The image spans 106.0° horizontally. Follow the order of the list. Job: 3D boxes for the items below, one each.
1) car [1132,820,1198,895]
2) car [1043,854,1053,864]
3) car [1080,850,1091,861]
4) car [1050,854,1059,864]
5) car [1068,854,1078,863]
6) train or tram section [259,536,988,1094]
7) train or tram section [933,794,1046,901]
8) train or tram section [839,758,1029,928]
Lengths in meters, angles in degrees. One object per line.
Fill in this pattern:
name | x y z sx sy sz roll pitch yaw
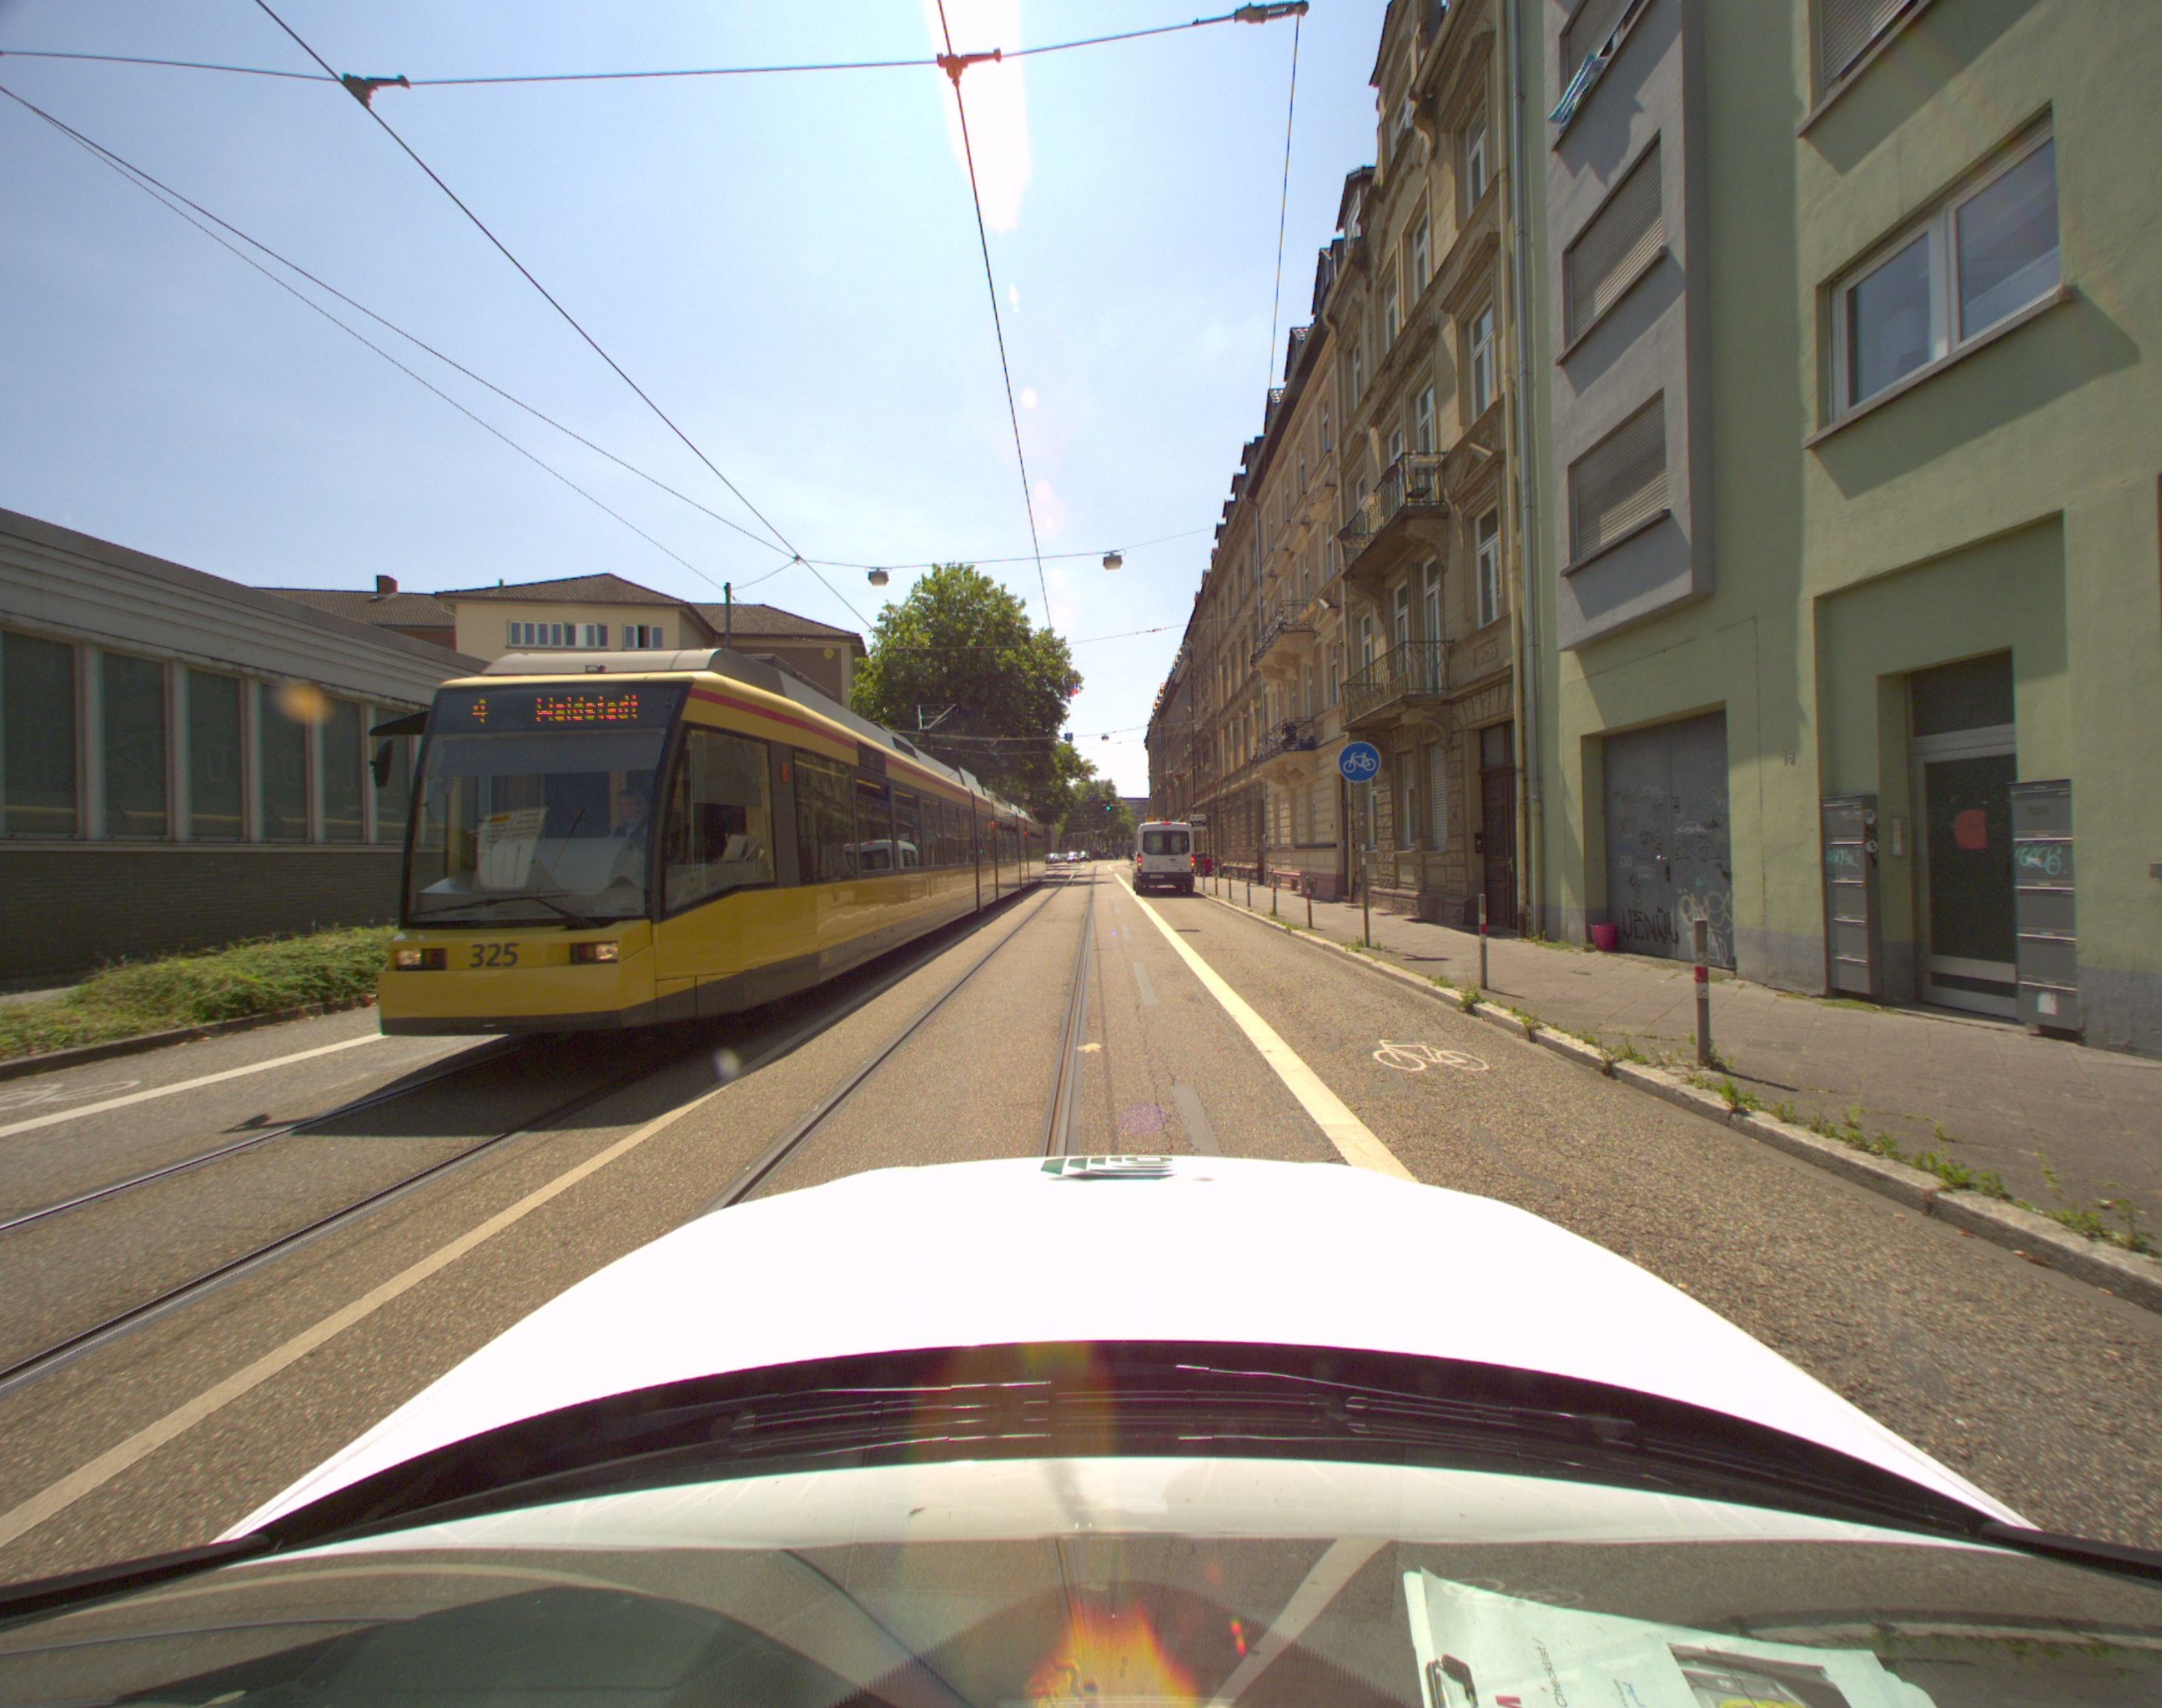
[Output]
car | 3.006 0.121 30.190 2.059 2.501 5.457 0 0 2
car | -5.466 0.825 135.429 1.450 1.731 3.192 -1 0 -1
car | 0.768 0.265 134.534 1.669 1.860 3.997 -1 0 -2
car | -4.516 0.811 140.544 1.450 1.731 3.192 -1 0 -1
car | -1.260 0.726 127.418 1.524 1.408 3.488 -1 0 -1
train or tram section | -3.758 -0.273 12.032 2.950 3.580 13.424 -1 0 1
train or tram section | -3.412 -0.226 34.472 2.950 3.580 13.424 -1 0 1
train or tram section | -3.583 -0.247 24.222 2.950 3.580 13.424 -1 0 1
